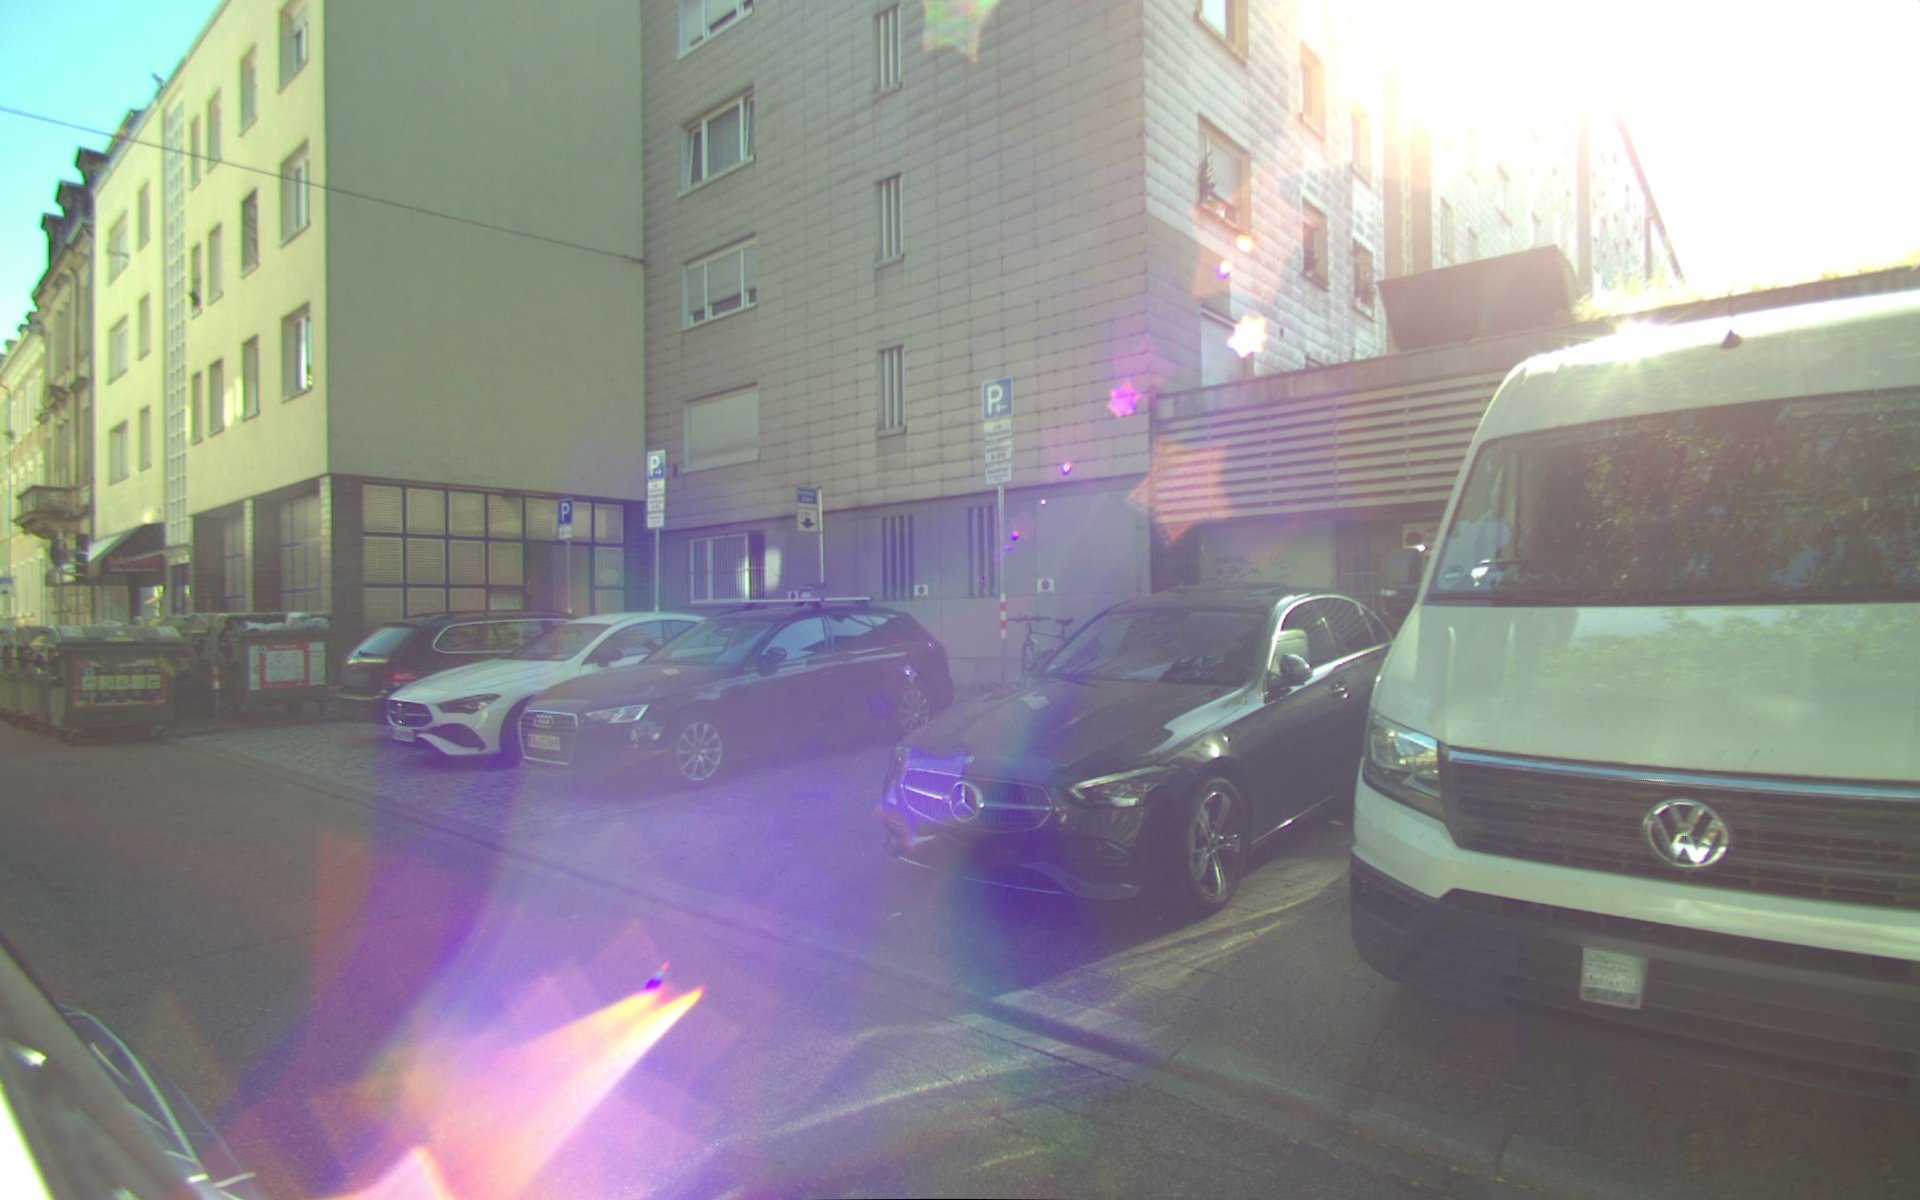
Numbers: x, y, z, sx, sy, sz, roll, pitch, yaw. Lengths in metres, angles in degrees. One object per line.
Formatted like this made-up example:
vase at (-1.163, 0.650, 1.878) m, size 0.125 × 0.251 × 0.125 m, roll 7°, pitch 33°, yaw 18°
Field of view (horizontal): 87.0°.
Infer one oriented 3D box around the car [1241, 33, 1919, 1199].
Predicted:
car at (3.925, -0.037, 4.888) m, size 2.145 × 2.574 × 6.668 m, roll -1°, pitch 2°, yaw 42°

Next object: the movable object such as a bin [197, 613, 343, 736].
movable object such as a bin at (-9.378, 0.964, 13.778) m, size 1.118 × 1.561 × 1.341 m, roll -1°, pitch -1°, yaw 35°

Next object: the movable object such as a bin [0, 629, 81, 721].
movable object such as a bin at (-15.614, 1.223, 16.827) m, size 1.186 × 1.461 × 1.306 m, roll -1°, pitch -2°, yaw 40°

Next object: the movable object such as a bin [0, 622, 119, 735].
movable object such as a bin at (-13.167, 1.095, 14.687) m, size 1.017 × 1.510 × 1.329 m, roll -1°, pitch -1°, yaw 40°

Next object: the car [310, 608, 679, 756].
car at (-5.722, 0.894, 12.788) m, size 1.825 × 1.516 × 3.837 m, roll -1°, pitch 0°, yaw 39°

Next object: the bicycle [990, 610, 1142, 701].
bicycle at (1.403, 0.732, 13.680) m, size 2.037 × 1.132 × 0.603 m, roll -2°, pitch -1°, yaw 41°

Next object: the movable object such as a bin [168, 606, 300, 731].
movable object such as a bin at (-10.343, 0.926, 14.433) m, size 1.171 × 1.665 × 1.217 m, roll -1°, pitch -1°, yaw 35°

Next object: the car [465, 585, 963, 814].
car at (-2.084, 0.713, 9.751) m, size 1.913 × 1.622 × 4.423 m, roll -1°, pitch 1°, yaw 38°

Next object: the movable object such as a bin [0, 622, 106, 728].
movable object such as a bin at (-13.937, 1.105, 15.379) m, size 1.002 × 1.498 × 1.335 m, roll -1°, pitch -1°, yaw 40°

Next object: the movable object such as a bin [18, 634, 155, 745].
movable object such as a bin at (-11.493, 1.130, 13.321) m, size 1.045 × 1.332 × 1.228 m, roll -1°, pitch -1°, yaw 40°

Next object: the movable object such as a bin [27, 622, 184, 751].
movable object such as a bin at (-10.646, 1.024, 12.626) m, size 1.116 × 1.462 × 1.288 m, roll -1°, pitch -1°, yaw 37°

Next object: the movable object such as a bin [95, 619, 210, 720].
movable object such as a bin at (-13.062, 1.085, 16.376) m, size 1.017 × 1.534 × 1.289 m, roll -1°, pitch -1°, yaw 40°

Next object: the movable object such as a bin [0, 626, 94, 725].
movable object such as a bin at (-14.730, 1.174, 16.056) m, size 1.093 × 1.495 × 1.320 m, roll -1°, pitch -2°, yaw 40°

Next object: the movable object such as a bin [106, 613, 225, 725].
movable object such as a bin at (-12.323, 1.021, 15.700) m, size 1.017 × 1.633 × 1.281 m, roll -1°, pitch -1°, yaw 40°

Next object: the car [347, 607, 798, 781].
car at (-4.091, 0.856, 11.289) m, size 1.956 × 1.436 × 4.299 m, roll -1°, pitch 1°, yaw 39°

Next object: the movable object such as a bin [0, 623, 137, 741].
movable object such as a bin at (-12.348, 1.083, 14.001) m, size 1.081 × 1.502 × 1.321 m, roll -1°, pitch -1°, yaw 40°

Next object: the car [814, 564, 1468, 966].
car at (1.461, 0.613, 6.288) m, size 1.928 × 1.481 × 4.453 m, roll -2°, pitch 2°, yaw 42°

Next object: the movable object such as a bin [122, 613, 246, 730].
movable object such as a bin at (-11.508, 1.016, 15.016) m, size 1.081 × 1.616 × 1.275 m, roll -1°, pitch -1°, yaw 40°

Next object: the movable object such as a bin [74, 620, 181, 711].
movable object such as a bin at (-14.713, 1.113, 17.884) m, size 1.178 × 1.509 × 1.283 m, roll -1°, pitch -1°, yaw 40°

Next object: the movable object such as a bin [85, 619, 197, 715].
movable object such as a bin at (-13.843, 1.097, 17.119) m, size 1.156 × 1.510 × 1.292 m, roll -1°, pitch -1°, yaw 40°

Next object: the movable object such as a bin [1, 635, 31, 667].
movable object such as a bin at (-34.449, 1.859, 36.931) m, size 0.584 × 1.140 × 0.713 m, roll -1°, pitch -1°, yaw 37°
